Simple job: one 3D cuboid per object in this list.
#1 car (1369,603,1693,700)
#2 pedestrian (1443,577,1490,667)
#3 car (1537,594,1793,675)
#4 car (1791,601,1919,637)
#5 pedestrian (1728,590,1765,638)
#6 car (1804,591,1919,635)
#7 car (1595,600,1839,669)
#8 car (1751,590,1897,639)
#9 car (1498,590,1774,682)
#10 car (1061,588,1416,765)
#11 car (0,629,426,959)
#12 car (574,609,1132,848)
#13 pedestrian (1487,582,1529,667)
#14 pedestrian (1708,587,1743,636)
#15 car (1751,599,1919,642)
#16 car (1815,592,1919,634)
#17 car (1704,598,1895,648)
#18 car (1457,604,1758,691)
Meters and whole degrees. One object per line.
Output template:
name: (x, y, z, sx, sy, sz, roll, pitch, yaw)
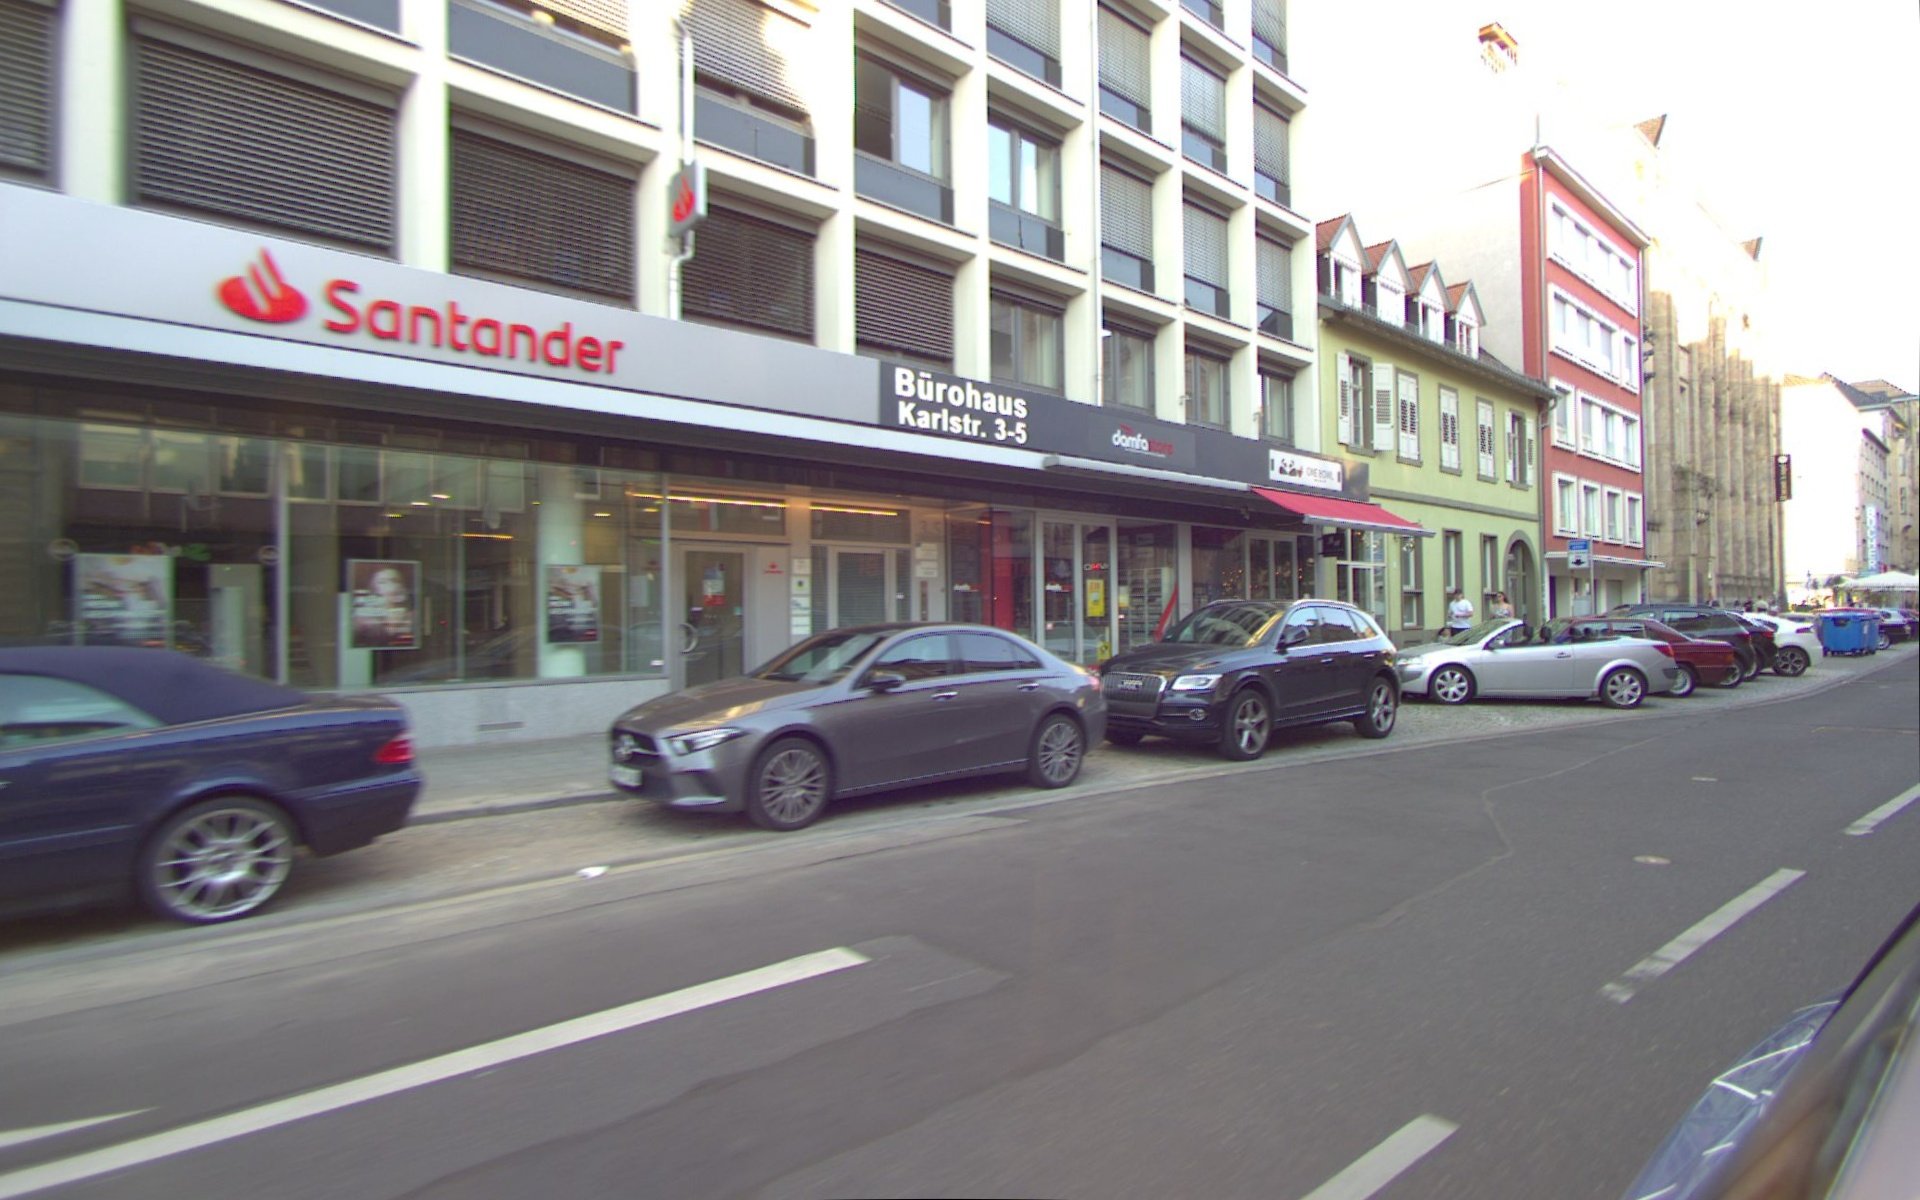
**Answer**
car: (9.044, 0.814, 16.363, 4.156, 1.458, 1.750, -1, -1, 8)
pedestrian: (12.027, 0.506, 24.050, 0.707, 2.094, 0.761, 0, -1, -42)
car: (15.092, 0.730, 21.942, 4.173, 1.637, 1.743, -1, -1, 19)
car: (35.651, 0.763, 40.135, 3.795, 1.365, 1.724, -2, -2, 25)
pedestrian: (30.856, 0.546, 39.701, 0.994, 1.823, 0.850, 0, -1, -36)
car: (37.931, 0.563, 42.191, 3.795, 1.747, 1.739, -2, -2, 25)
car: (17.506, 0.791, 23.644, 4.173, 1.492, 1.743, -1, -1, 19)
car: (32.676, 0.564, 38.401, 3.795, 1.775, 1.739, -1, -1, 25)
car: (13.293, 0.703, 20.191, 4.167, 1.698, 1.746, -1, -1, 15)
car: (3.333, 0.727, 11.696, 4.285, 1.680, 1.831, 0, -1, -40)
car: (-5.183, 0.893, 4.791, 4.425, 1.405, 1.744, 0, -1, -43)
car: (-0.692, 0.838, 8.522, 4.478, 1.465, 1.745, 0, -1, -40)
pedestrian: (12.611, 0.551, 23.280, 0.707, 1.911, 0.611, 0, -1, -43)
pedestrian: (31.308, 0.465, 41.385, 0.994, 1.969, 0.850, 0, -1, -36)
car: (31.166, 0.736, 36.177, 4.182, 1.492, 1.739, -1, -1, 25)
car: (40.059, 0.579, 44.168, 3.795, 1.747, 1.739, -2, -2, 25)
car: (26.034, 0.725, 31.575, 4.173, 1.492, 1.743, -1, -1, 19)
car: (11.463, 0.822, 18.248, 4.167, 1.458, 1.746, -1, -1, 15)
